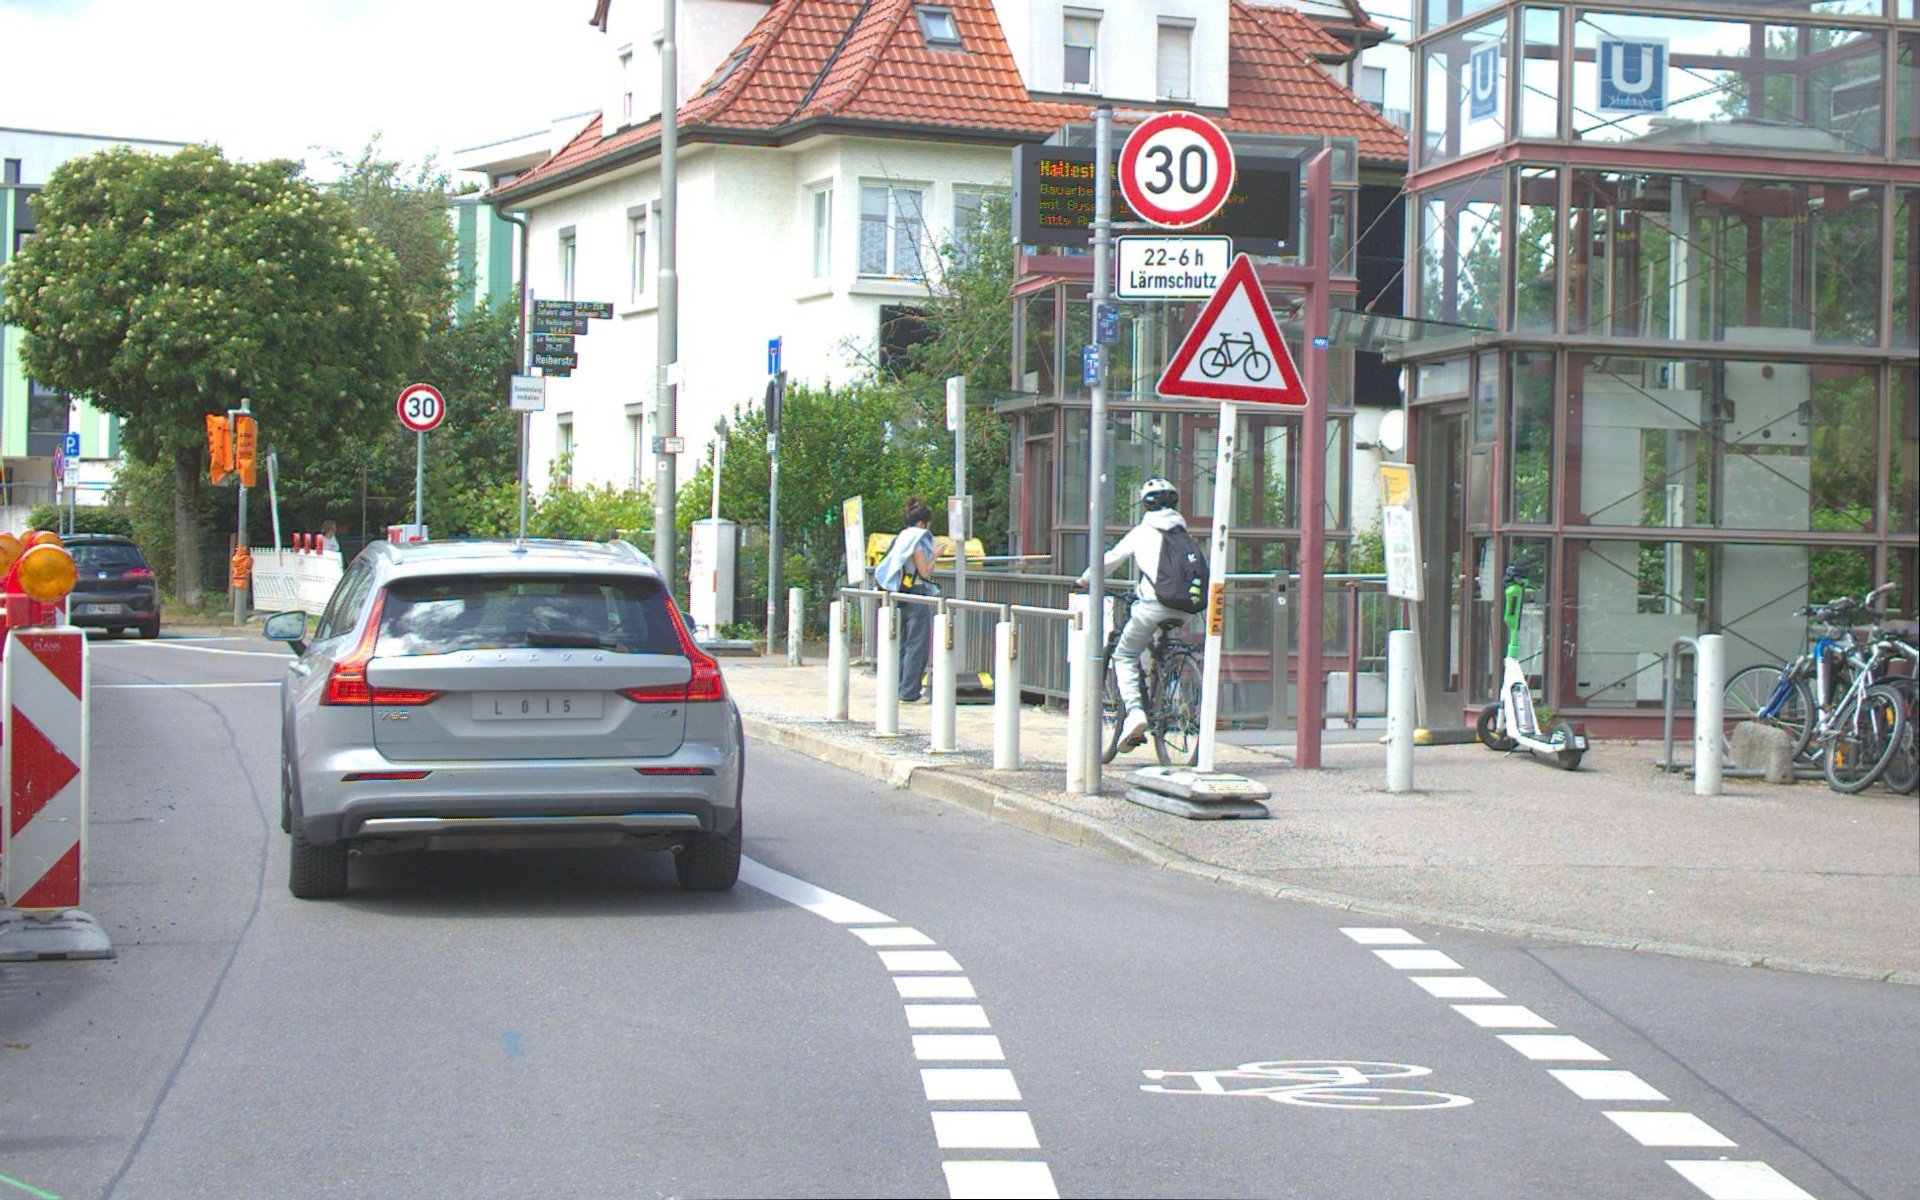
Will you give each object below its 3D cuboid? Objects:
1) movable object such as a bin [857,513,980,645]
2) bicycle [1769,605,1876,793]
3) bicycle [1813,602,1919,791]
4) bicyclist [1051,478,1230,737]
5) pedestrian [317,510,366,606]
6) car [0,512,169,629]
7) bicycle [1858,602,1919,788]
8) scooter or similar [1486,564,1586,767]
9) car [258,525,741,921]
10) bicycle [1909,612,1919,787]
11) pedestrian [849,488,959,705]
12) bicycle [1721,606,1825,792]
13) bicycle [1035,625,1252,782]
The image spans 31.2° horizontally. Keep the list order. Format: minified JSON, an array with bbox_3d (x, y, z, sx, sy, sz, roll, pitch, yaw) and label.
[{"bbox_3d":[-0.486,-0.249,39.641,1.267,1.465,1.005,1,1,-7],"label":"movable object such as a bin"},{"bbox_3d":[4.871,0.545,19.451,0.215,0.997,1.207,0,1,-4],"label":"bicycle"},{"bbox_3d":[5.134,0.532,19.493,0.215,1.010,1.169,0,1,-4],"label":"bicycle"},{"bbox_3d":[1.005,0.022,19.413,0.656,1.411,1.179,1,2,-14],"label":"bicyclist"},{"bbox_3d":[-9.934,-0.675,55.188,0.520,1.534,0.636,-1,2,-42],"label":"pedestrian"},{"bbox_3d":[-12.356,-0.433,47.772,1.854,1.508,4.001,2,1,-25],"label":"car"},{"bbox_3d":[5.401,0.530,19.495,0.215,1.005,1.190,0,1,-4],"label":"bicycle"},{"bbox_3d":[3.402,0.375,20.331,0.215,1.108,0.947,0,4,-13],"label":"scooter or similar"},{"bbox_3d":[-2.009,0.430,15.302,1.854,1.508,4.001,0,1,-7],"label":"car"},{"bbox_3d":[5.698,0.588,19.510,0.215,1.005,1.190,0,1,-4],"label":"bicycle"},{"bbox_3d":[-0.427,-0.023,26.081,0.597,1.577,0.401,6,-2,-14],"label":"pedestrian"},{"bbox_3d":[4.590,0.544,19.438,0.215,0.985,1.204,0,1,-4],"label":"bicycle"},{"bbox_3d":[1.005,0.562,19.375,0.635,0.751,2.063,1,2,-14],"label":"bicycle"}]
